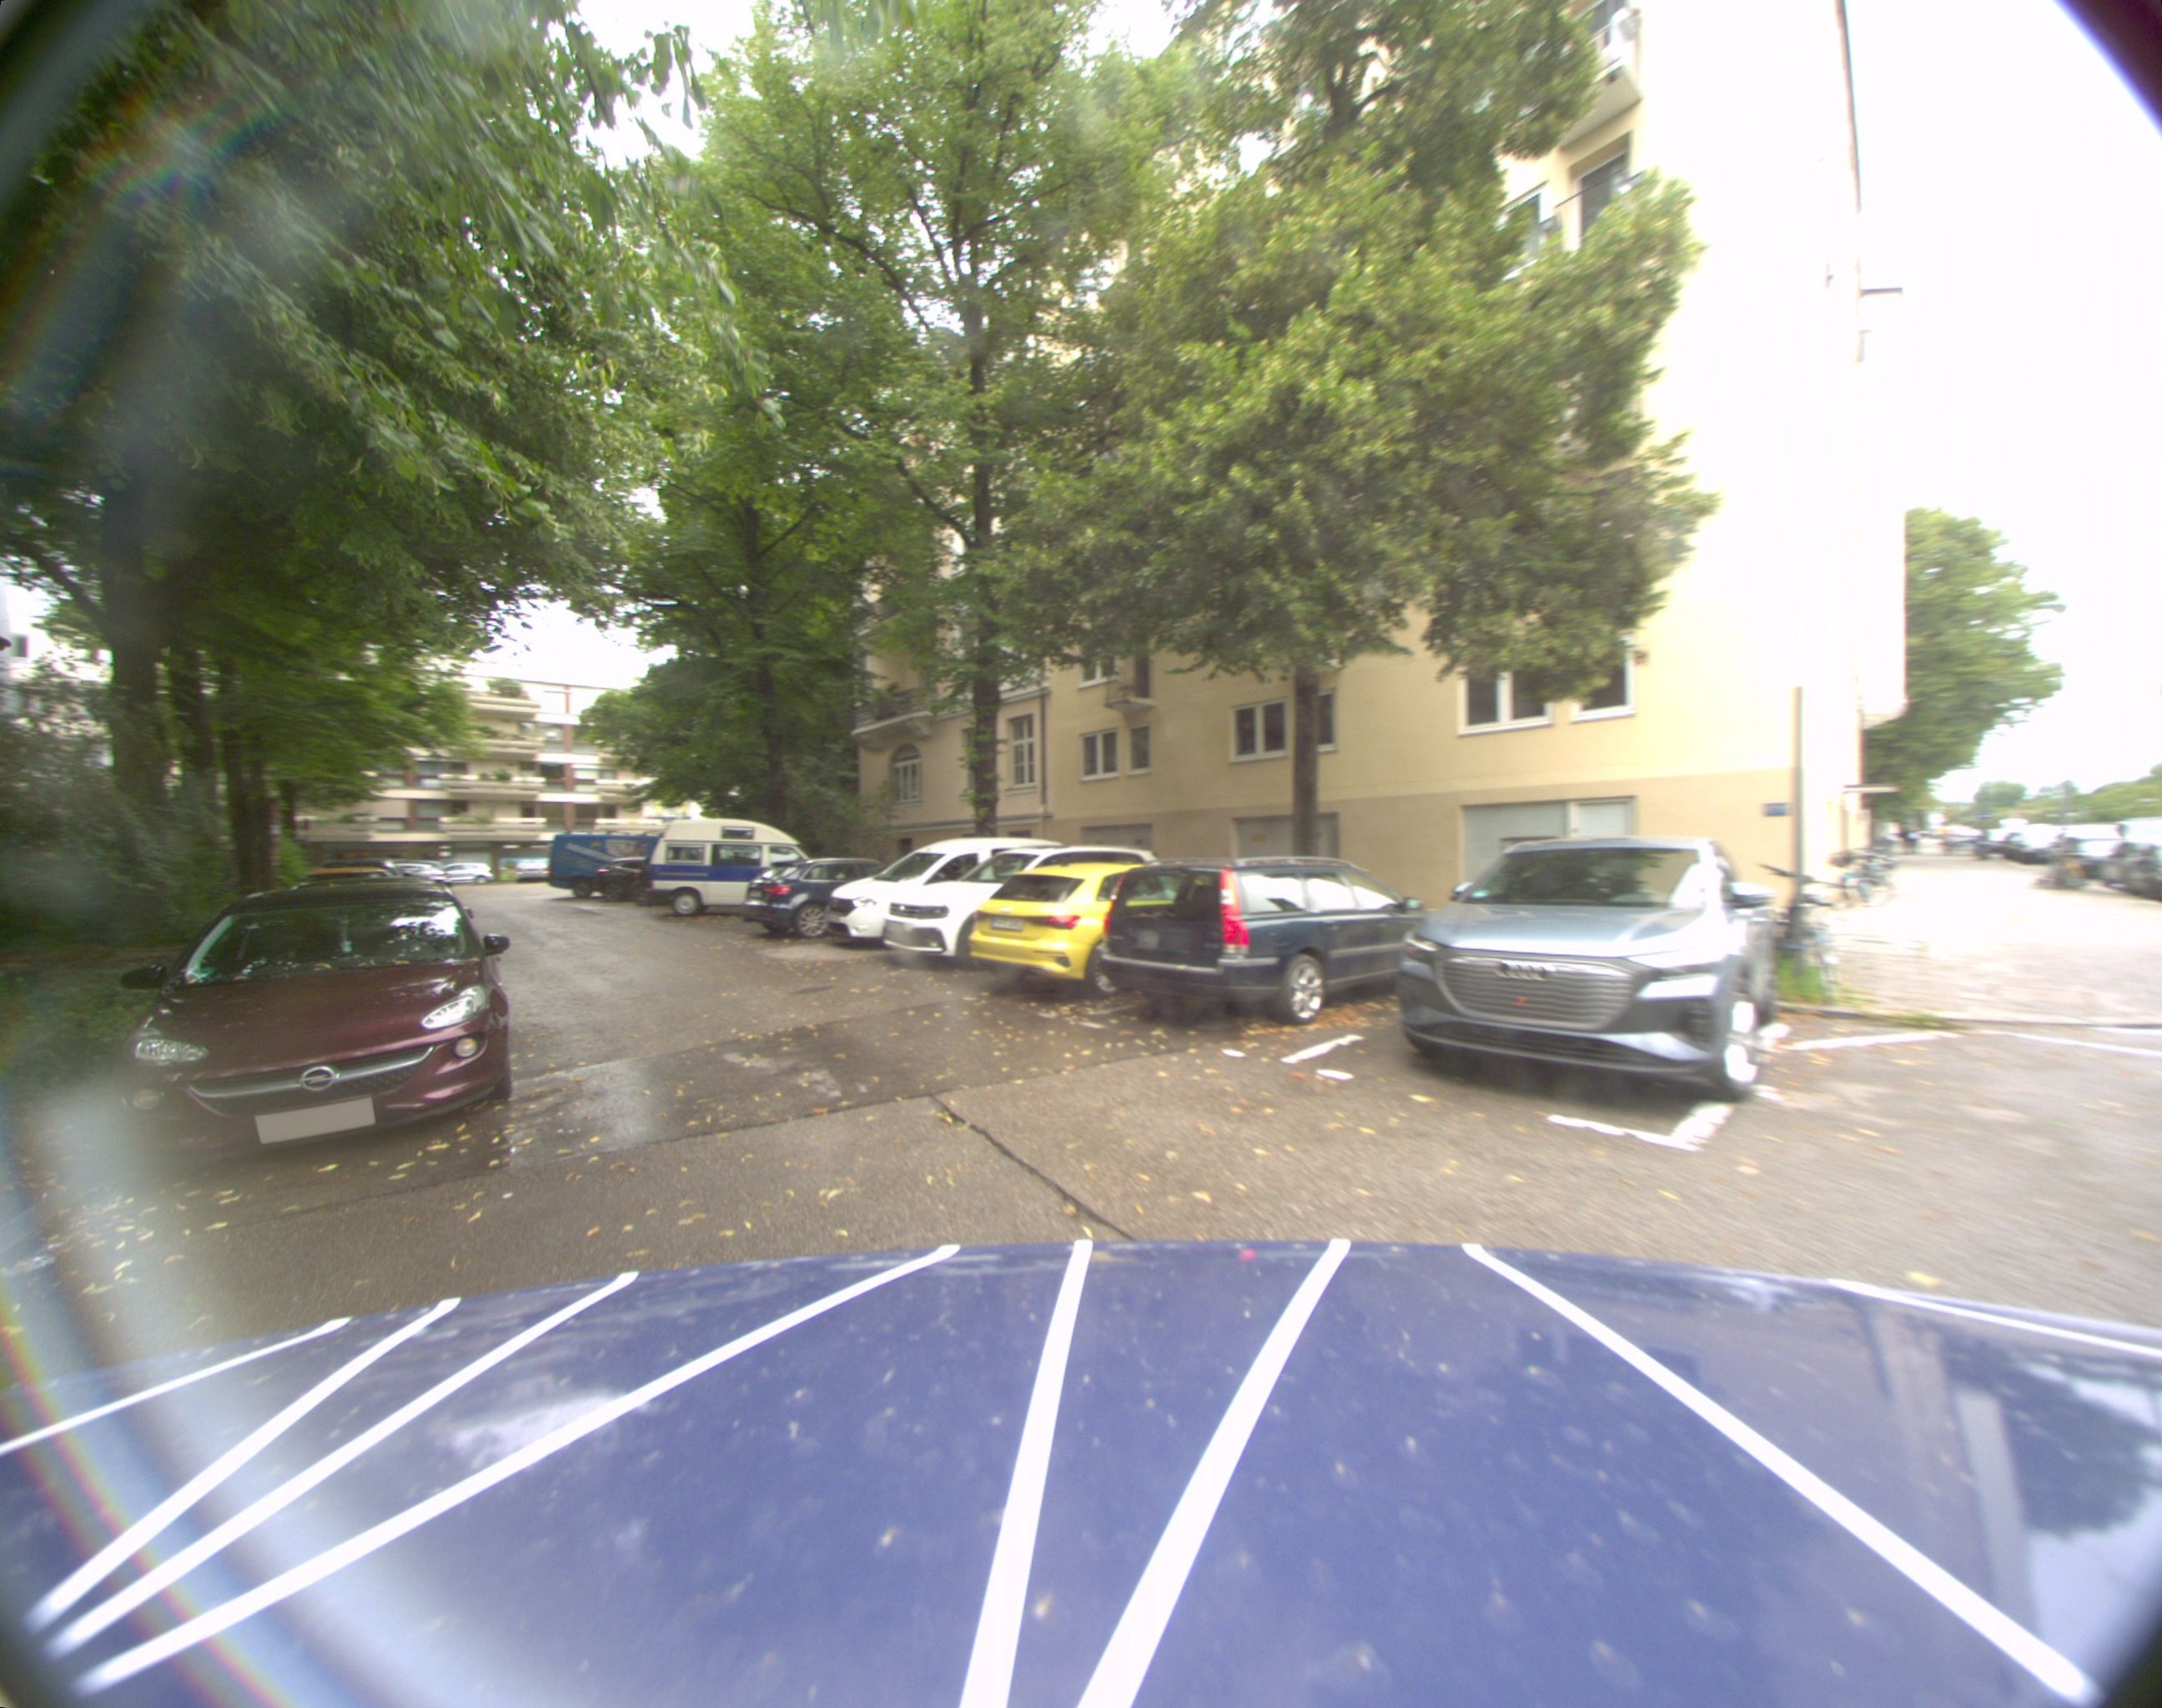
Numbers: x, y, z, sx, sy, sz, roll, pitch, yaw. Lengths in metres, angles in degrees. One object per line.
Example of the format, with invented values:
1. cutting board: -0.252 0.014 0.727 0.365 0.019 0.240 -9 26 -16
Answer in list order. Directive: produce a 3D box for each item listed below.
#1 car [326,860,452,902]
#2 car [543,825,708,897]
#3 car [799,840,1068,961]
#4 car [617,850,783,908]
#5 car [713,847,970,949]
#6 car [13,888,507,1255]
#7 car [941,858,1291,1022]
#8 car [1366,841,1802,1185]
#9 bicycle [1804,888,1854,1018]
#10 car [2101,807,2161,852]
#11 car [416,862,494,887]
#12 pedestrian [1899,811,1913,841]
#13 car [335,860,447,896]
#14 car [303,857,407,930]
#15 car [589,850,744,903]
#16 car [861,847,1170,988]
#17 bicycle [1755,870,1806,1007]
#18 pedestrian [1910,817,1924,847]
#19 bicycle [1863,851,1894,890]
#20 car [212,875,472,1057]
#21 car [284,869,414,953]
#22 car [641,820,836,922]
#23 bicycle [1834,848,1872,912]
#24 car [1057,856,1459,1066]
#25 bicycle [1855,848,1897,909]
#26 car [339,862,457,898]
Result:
1. car: -28.271 1.056 31.102 1.850 1.470 3.698 -1 1 45
2. car: -16.496 0.235 27.761 4.690 2.398 1.977 -2 1 -8
3. car: -2.468 0.674 13.432 4.253 1.741 1.913 -2 1 -43
4. car: -11.620 0.740 23.430 4.108 1.594 1.903 -2 1 -5
5. car: -4.478 0.718 14.610 4.253 1.590 1.913 -2 1 -43
6. car: -5.295 1.076 5.428 1.737 1.488 3.698 -2 1 -39
7. car: 0.619 0.847 9.451 4.253 1.459 1.913 -2 1 -44
8. car: 3.994 0.729 5.669 4.253 1.556 1.821 -2 1 -44
9. bicycle: 7.019 0.881 7.116 1.241 1.055 0.281 -2 1 -43
10. car: 55.889 -1.314 40.113 4.561 2.198 1.853 -3 2 -44
11. car: -39.229 1.264 47.641 3.698 1.348 1.850 -2 1 -41
12. pedestrian: 54.052 -1.829 49.795 0.457 2.002 0.620 0 1 31
13. car: -31.756 1.056 35.023 1.850 1.470 3.698 -1 1 45
14. car: -18.211 0.920 19.218 1.701 1.589 4.096 -2 1 -41
15. car: -13.838 0.730 25.577 4.108 1.594 1.903 -2 1 -5
16. car: -0.803 0.757 11.232 4.253 1.611 1.913 -2 1 -44
17. bicycle: 6.966 0.792 7.554 1.241 1.224 0.281 -2 1 -43
18. pedestrian: 54.952 -1.440 49.956 0.457 2.002 0.620 0 1 31
19. bicycle: 21.209 0.421 20.212 0.462 0.999 1.322 -1 1 42
20. car: -8.327 1.042 8.729 1.737 1.488 4.035 -2 1 -43
21. car: -14.962 1.065 15.503 3.766 1.430 1.701 -1 1 44
22. car: -8.387 0.371 19.036 4.184 2.300 1.901 -2 1 -19
23. bicycle: 14.689 0.469 14.474 0.363 1.164 1.322 -1 1 39
24. car: 2.033 0.815 7.880 4.253 1.459 2.049 -2 1 -44
25. bicycle: 16.050 0.469 15.354 0.400 1.164 1.322 -1 1 38
26. car: -29.895 1.105 33.303 1.850 1.385 3.698 -1 1 45
